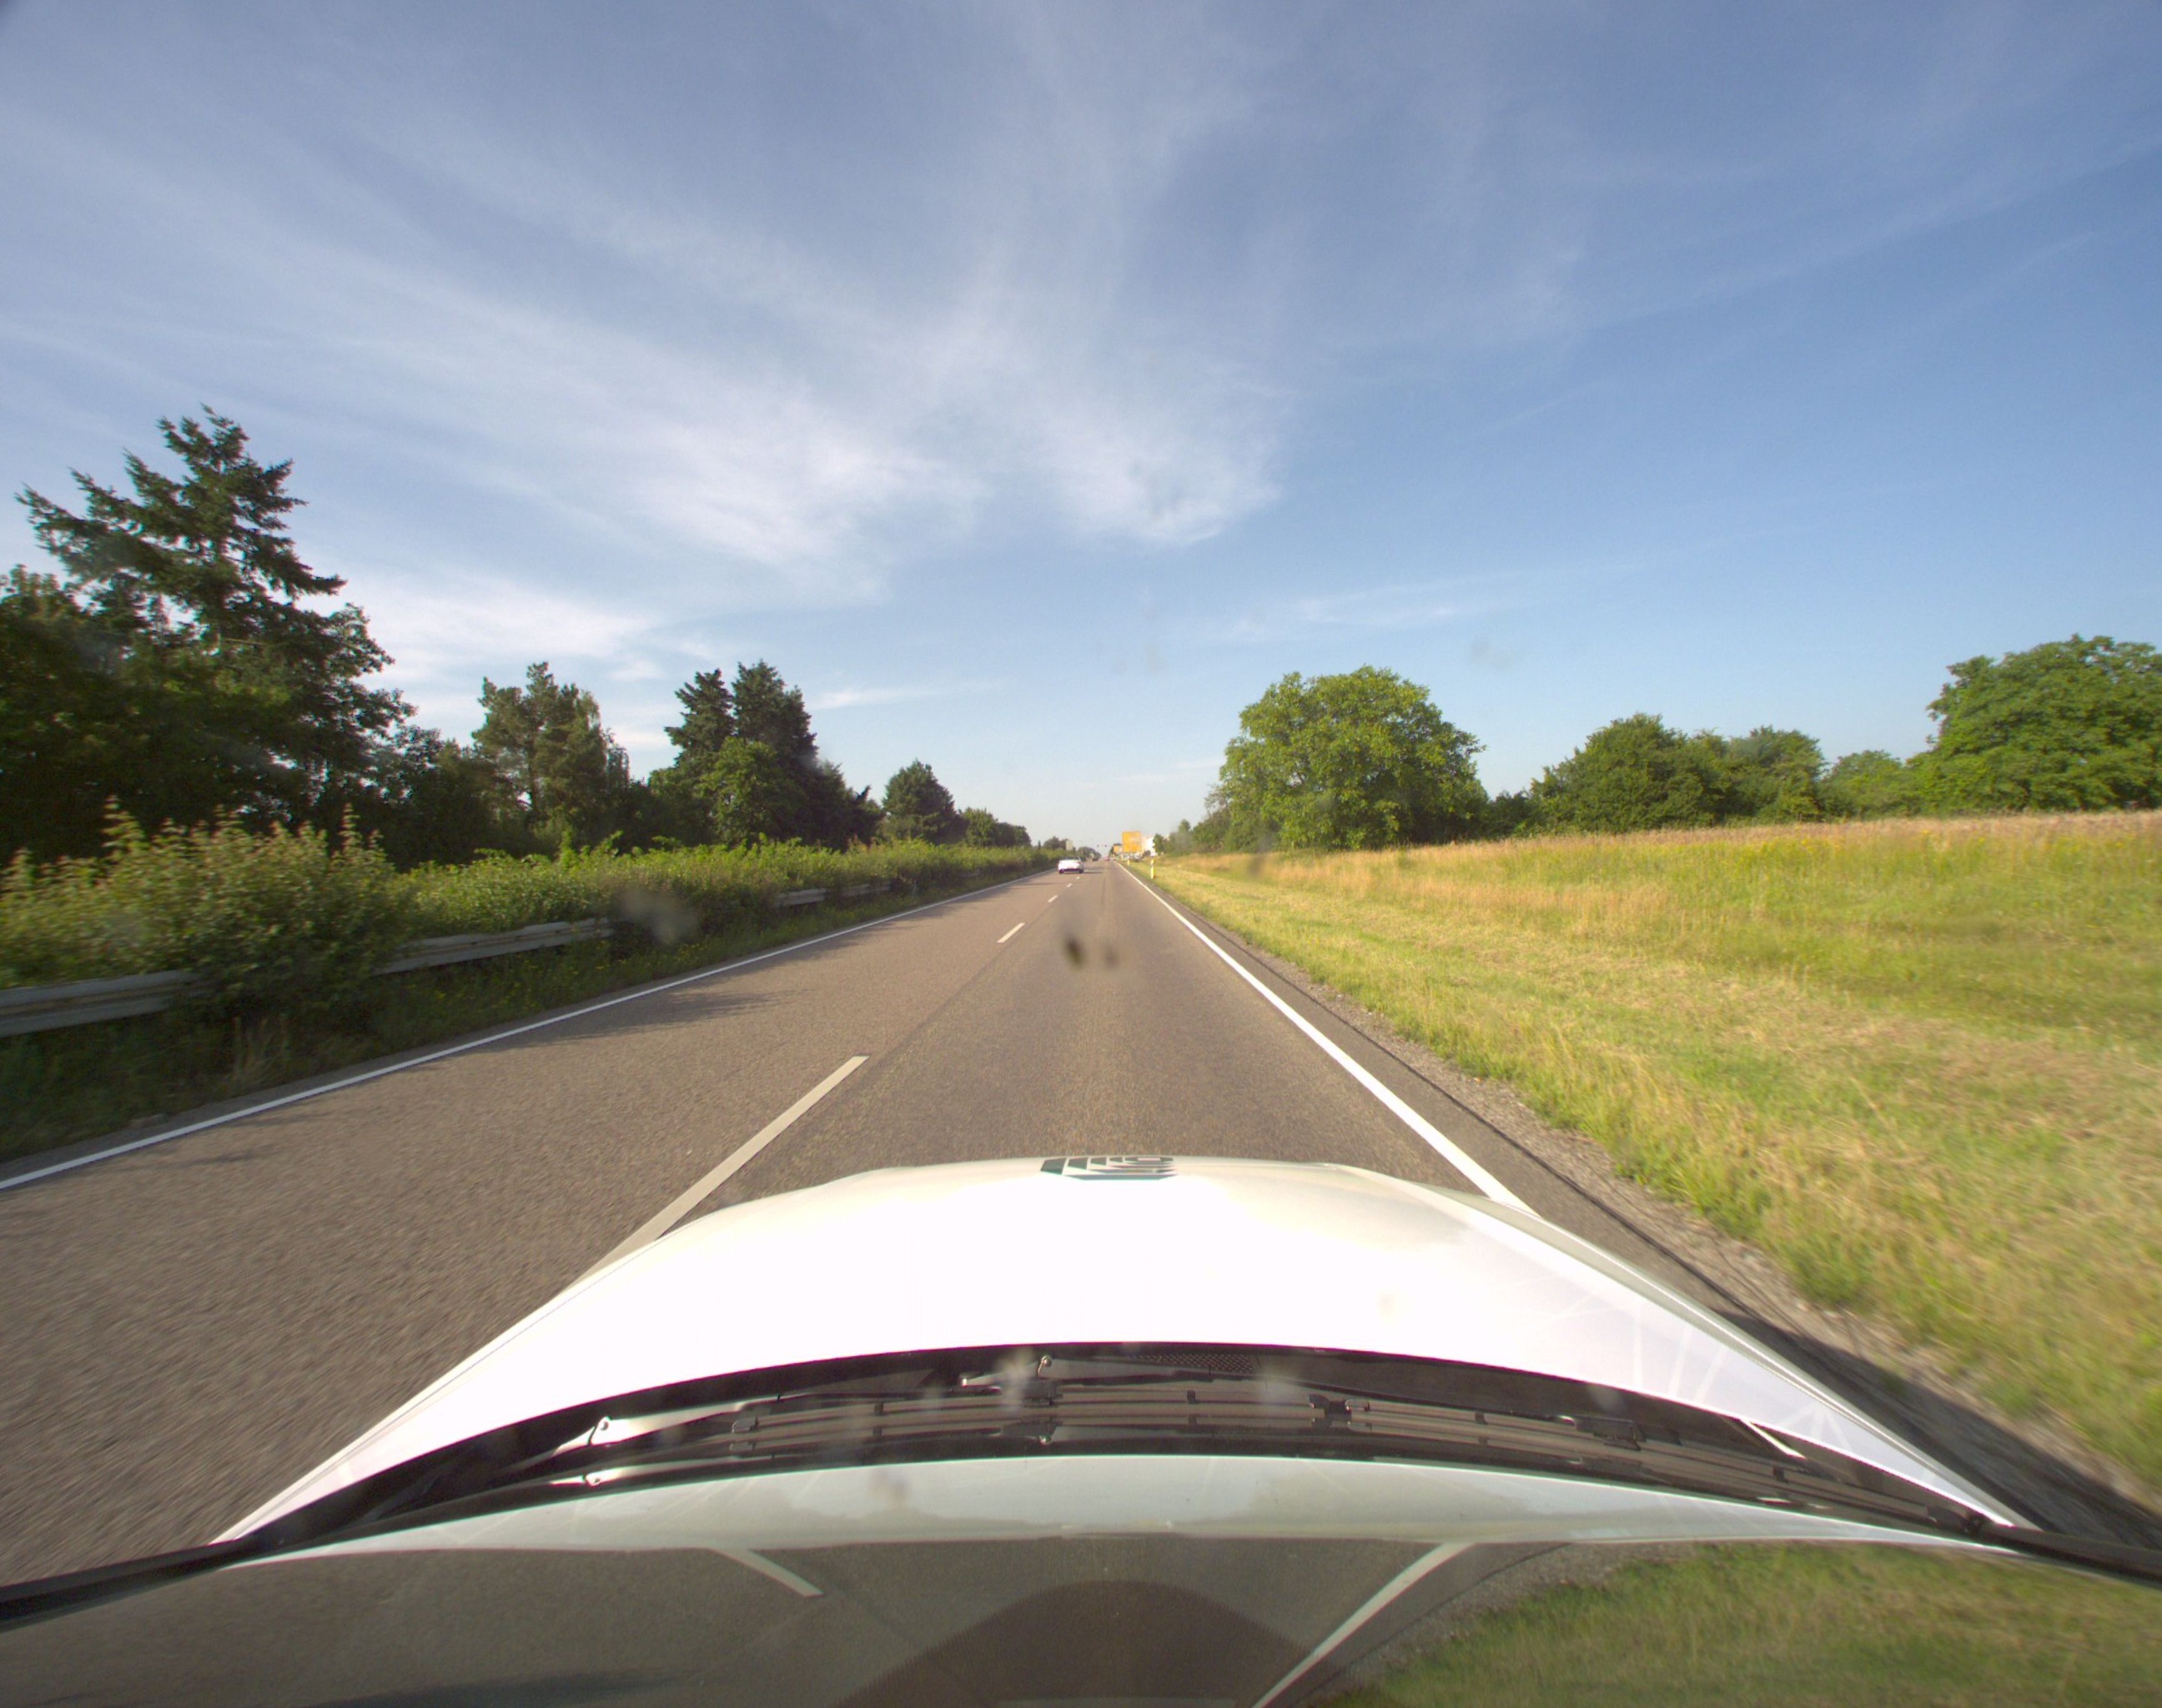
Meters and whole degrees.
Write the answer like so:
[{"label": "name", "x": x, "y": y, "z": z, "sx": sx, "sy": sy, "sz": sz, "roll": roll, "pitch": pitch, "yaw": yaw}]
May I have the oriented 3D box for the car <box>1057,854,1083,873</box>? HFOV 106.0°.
[{"label": "car", "x": -0.838, "y": 0.760, "z": 63.957, "sx": 1.903, "sy": 1.422, "sz": 4.001, "roll": -1, "pitch": 0, "yaw": 1}]
